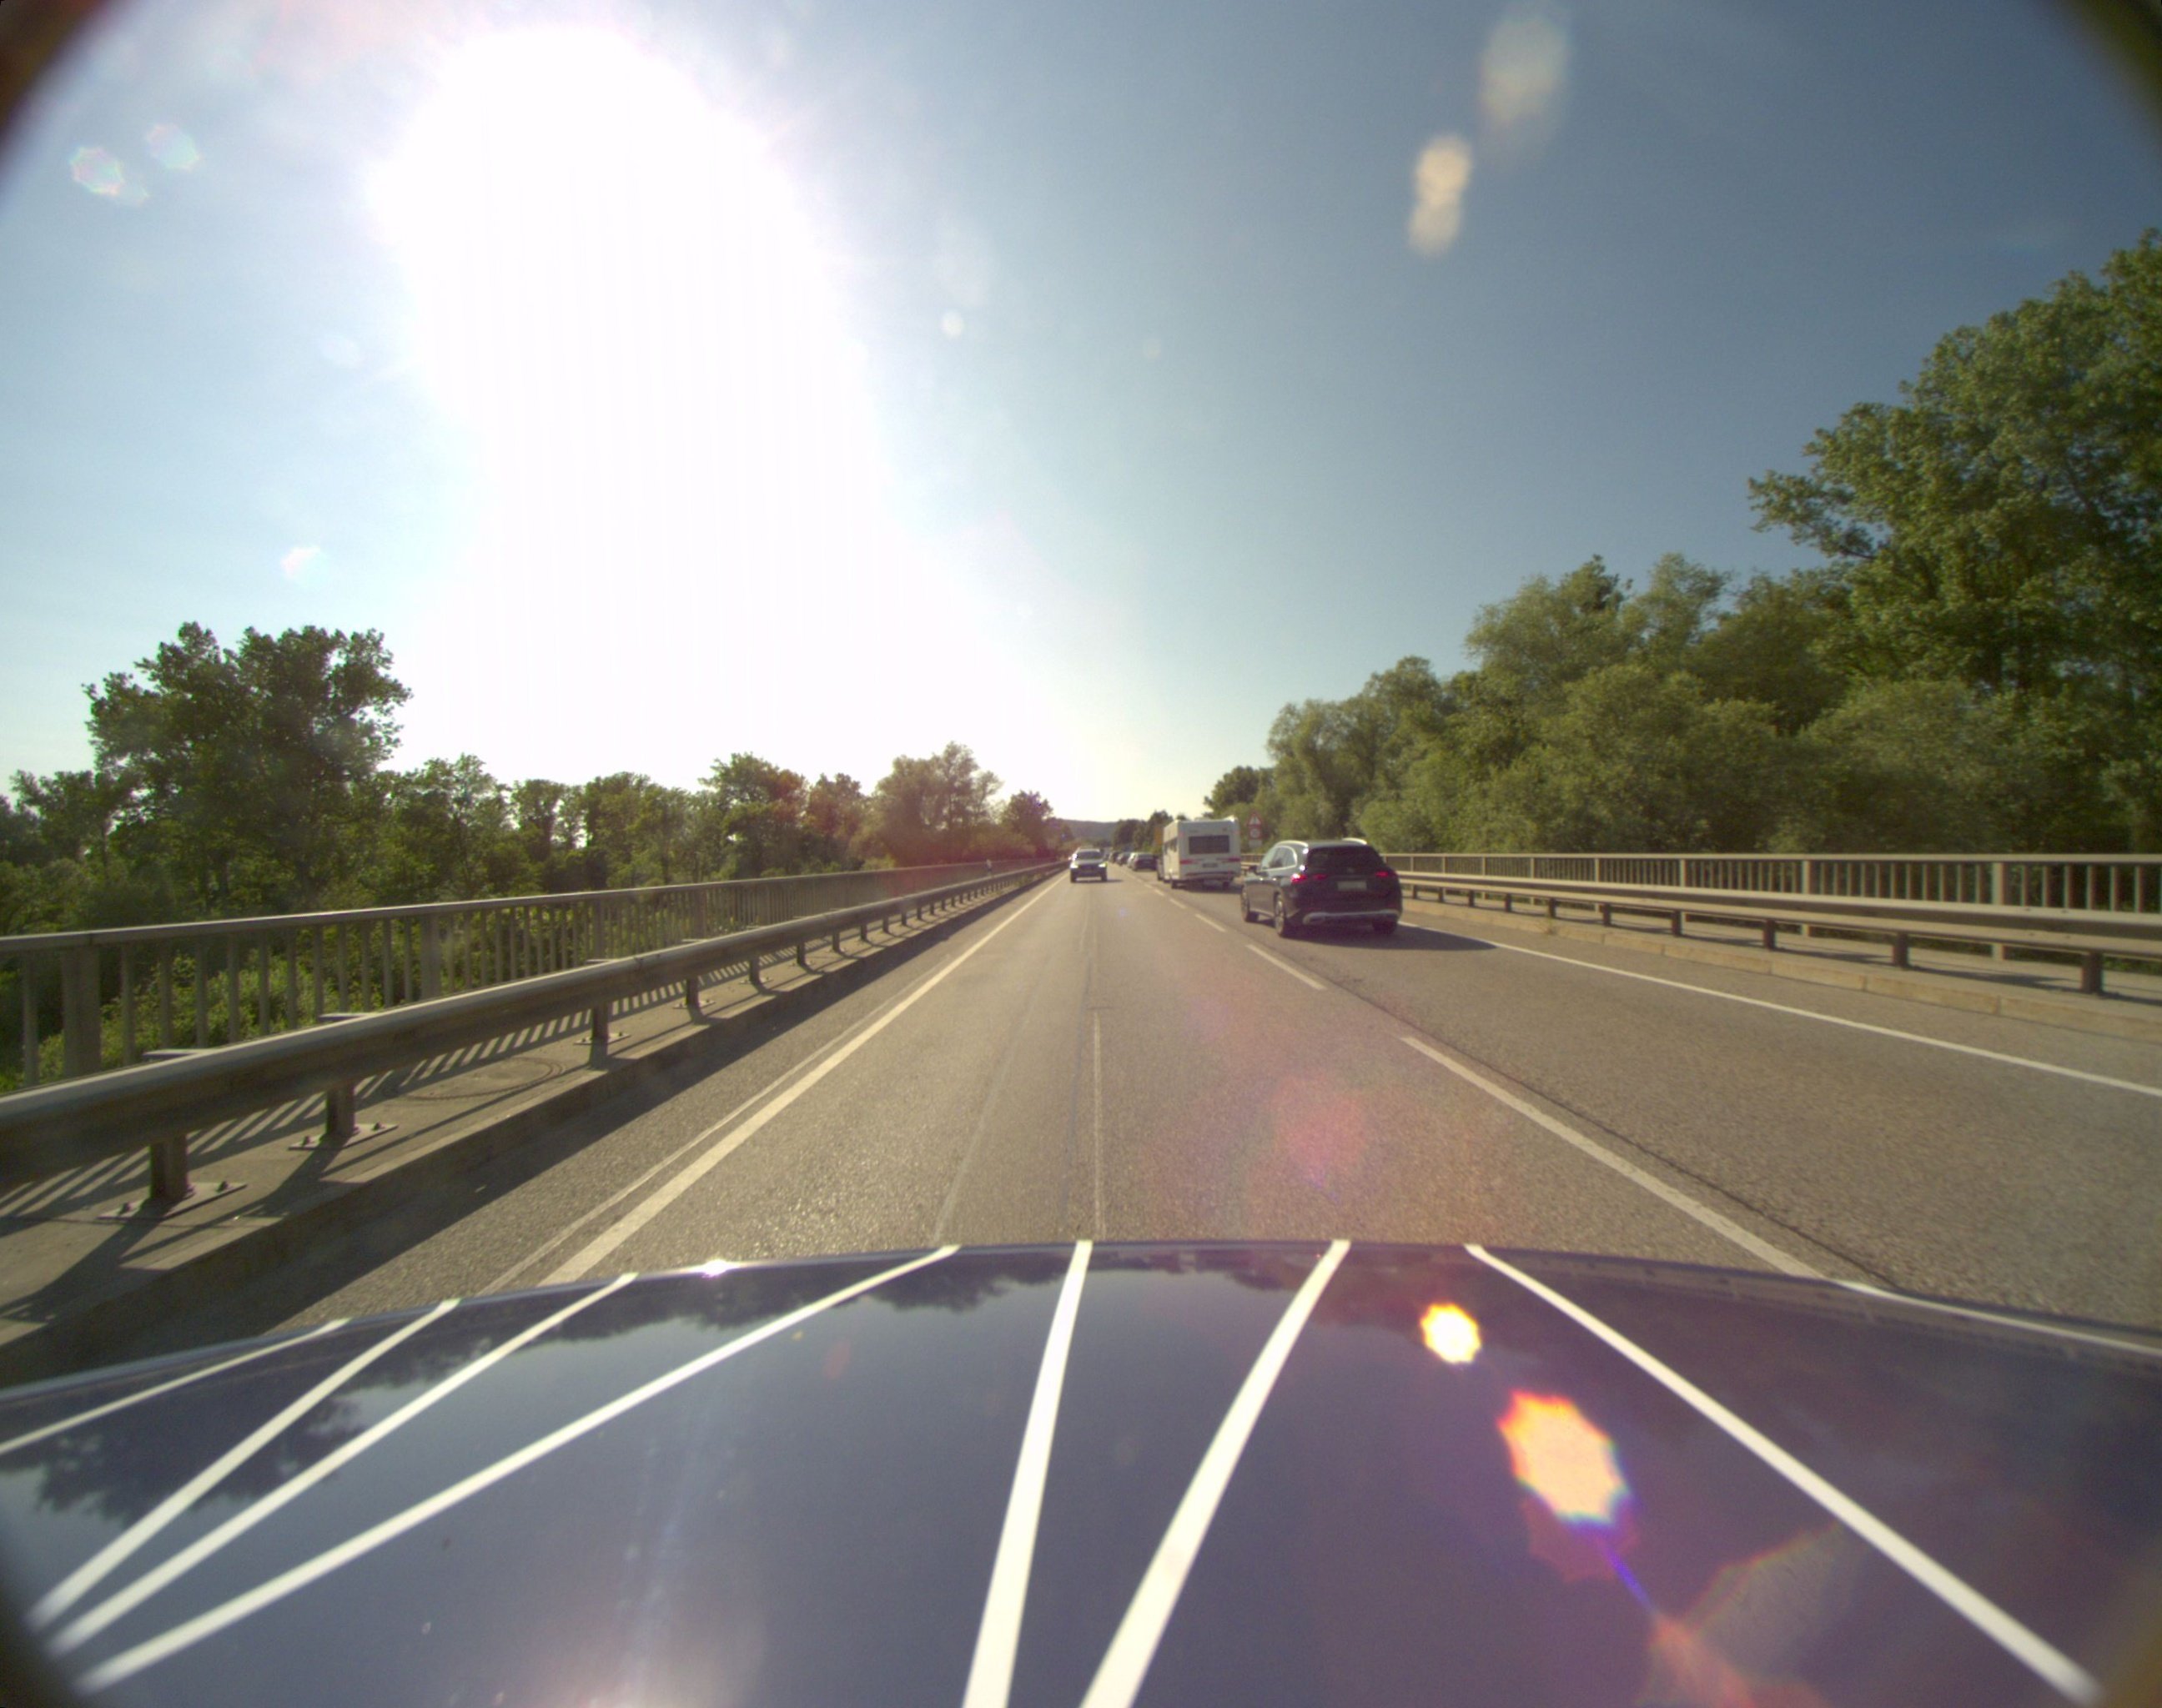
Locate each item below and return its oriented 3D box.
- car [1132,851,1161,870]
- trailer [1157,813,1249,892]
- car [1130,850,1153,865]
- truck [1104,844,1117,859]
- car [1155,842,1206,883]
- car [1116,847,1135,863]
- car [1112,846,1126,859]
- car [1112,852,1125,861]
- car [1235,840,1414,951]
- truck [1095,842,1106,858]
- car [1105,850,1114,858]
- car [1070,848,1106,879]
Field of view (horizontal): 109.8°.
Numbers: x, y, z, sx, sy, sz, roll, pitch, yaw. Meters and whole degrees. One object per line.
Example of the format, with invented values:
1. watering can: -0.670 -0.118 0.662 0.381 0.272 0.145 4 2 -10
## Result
1. car: 5.168 0.463 60.214 1.791 1.412 4.650 -1 0 -1
2. trailer: 4.781 -0.037 31.291 2.561 2.721 8.063 -3 0 1
3. car: 5.851 0.319 73.815 1.736 1.427 4.486 -1 0 -1
4. truck: 6.666 -0.573 172.343 2.620 3.235 6.967 -2 0 1
5. car: 4.852 0.379 37.772 1.988 1.843 5.008 -1 0 2
6. car: 5.143 0.102 88.121 1.972 1.796 4.530 -2 0 2
7. car: 5.839 -0.213 116.511 1.972 1.796 4.530 -4 0 2
8. car: 6.507 0.438 132.370 1.825 1.537 4.061 -3 0 -1
9. car: 4.162 0.618 13.798 1.807 1.651 4.432 -2 0 0
10. truck: 5.337 -1.006 210.183 2.744 4.303 8.130 -2 0 1
11. car: 5.792 -0.041 156.078 1.743 1.655 4.046 -2 0 1
12. car: 0.437 0.471 41.613 1.871 1.599 4.380 -1 1 2
